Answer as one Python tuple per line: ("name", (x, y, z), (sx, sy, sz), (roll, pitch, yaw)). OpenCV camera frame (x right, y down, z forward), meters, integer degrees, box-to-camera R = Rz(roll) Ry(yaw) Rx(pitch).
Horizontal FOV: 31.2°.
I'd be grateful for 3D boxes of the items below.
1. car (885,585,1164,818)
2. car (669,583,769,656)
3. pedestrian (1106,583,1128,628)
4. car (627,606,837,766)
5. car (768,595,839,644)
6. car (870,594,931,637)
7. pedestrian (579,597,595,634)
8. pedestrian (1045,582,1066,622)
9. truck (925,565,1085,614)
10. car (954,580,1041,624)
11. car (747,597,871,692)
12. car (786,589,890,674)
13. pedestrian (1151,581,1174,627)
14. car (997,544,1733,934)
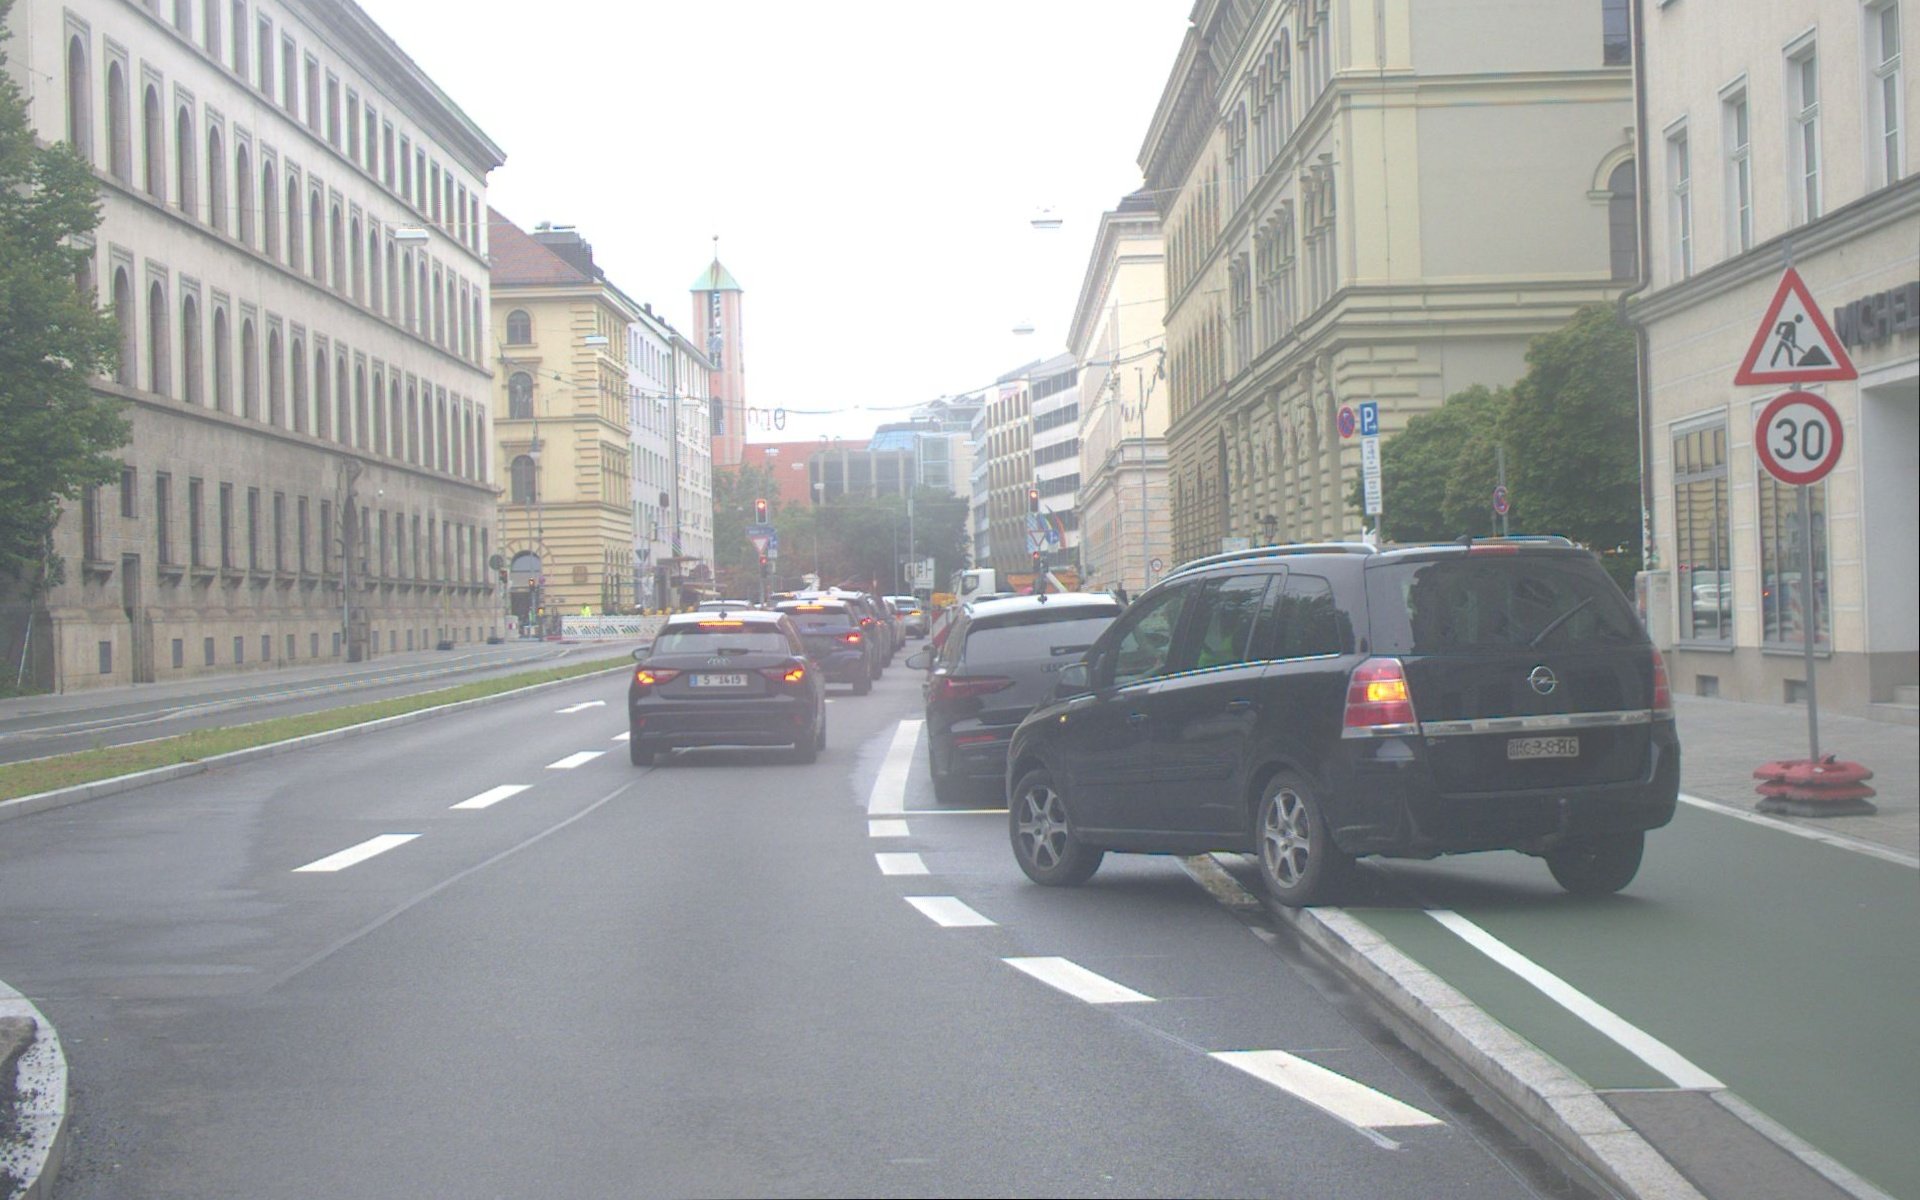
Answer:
("car", (0.406, 0.707, 26.435), (1.808, 1.475, 4.462), (-5, 0, -1))
("car", (-5.614, 0.442, 80.404), (1.993, 1.622, 4.000), (-2, 0, 1))
("pedestrian", (5.723, 0.202, 125.243), (0.710, 1.612, 0.754), (-2, 0, 0))
("car", (-2.114, 0.777, 32.791), (1.730, 1.398, 4.000), (0, 0, 0))
("car", (-4.893, 0.596, 108.095), (1.993, 1.439, 4.000), (-2, 0, 1))
("car", (-2.065, 0.530, 120.182), (1.993, 1.439, 4.000), (-2, 0, 1))
("pedestrian", (-18.139, 0.747, 166.985), (0.656, 1.799, 0.727), (-2, 0, 0))
("pedestrian", (3.951, 0.075, 142.608), (0.752, 1.612, 0.712), (-2, 0, 8))
("truck", (2.121, -0.495, 160.132), (7.387, 2.245, 2.179), (0, 0, 3))
("car", (1.608, 0.090, 145.844), (1.997, 1.744, 3.994), (-2, 0, 29))
("car", (-2.298, 0.661, 53.081), (1.730, 1.398, 4.000), (0, 0, 0))
("car", (-2.162, 0.540, 61.836), (1.730, 1.456, 4.000), (0, 0, 0))
("pedestrian", (7.092, 0.141, 120.557), (0.710, 1.612, 0.754), (-2, 0, 0))
("car", (1.773, 0.567, 16.432), (1.764, 1.610, 4.031), (-1, 0, -22))
